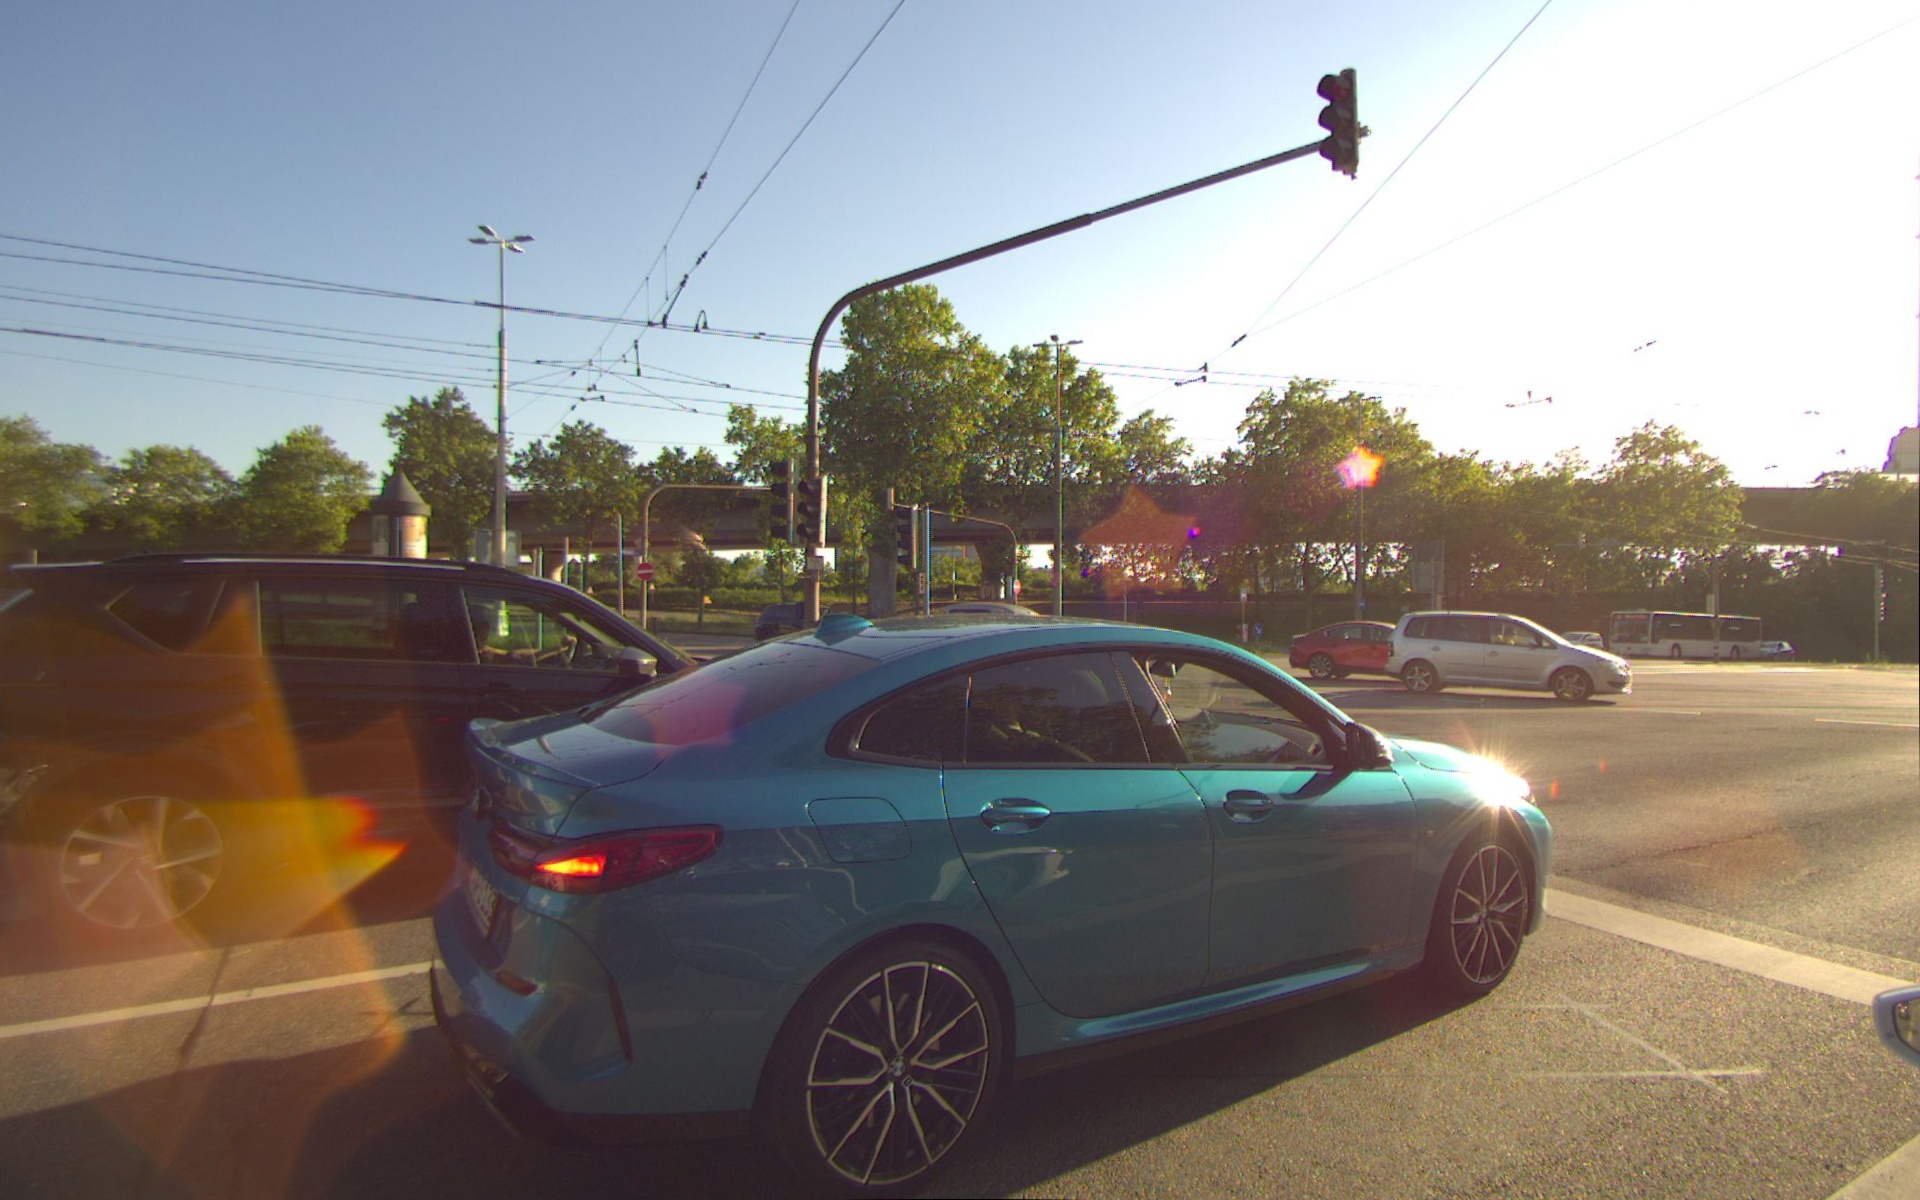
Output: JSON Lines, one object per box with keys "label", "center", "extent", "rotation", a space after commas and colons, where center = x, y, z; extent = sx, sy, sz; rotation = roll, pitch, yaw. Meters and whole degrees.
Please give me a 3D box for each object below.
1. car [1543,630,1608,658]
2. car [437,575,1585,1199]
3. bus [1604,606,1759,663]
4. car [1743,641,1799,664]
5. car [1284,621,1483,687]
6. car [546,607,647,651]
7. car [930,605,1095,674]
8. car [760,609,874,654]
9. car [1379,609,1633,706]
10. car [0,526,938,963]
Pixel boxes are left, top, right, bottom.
{"label": "car", "center": [35.133, 2.497, 57.321], "extent": [3.964, 1.532, 1.598], "rotation": [2, 0, -32]}
{"label": "car", "center": [0.448, 0.745, 3.803], "extent": [4.162, 1.485, 1.704], "rotation": [1, -1, -33]}
{"label": "bus", "center": [45.520, 2.225, 63.127], "extent": [12.756, 3.171, 2.534], "rotation": [3, -2, -28]}
{"label": "car", "center": [55.034, 3.545, 68.151], "extent": [3.959, 1.438, 1.600], "rotation": [1, 0, -29]}
{"label": "car", "center": [10.359, 1.271, 24.724], "extent": [4.221, 1.382, 1.617], "rotation": [1, 0, 39]}
{"label": "car", "center": [-14.045, 1.083, 38.715], "extent": [3.869, 1.546, 1.718], "rotation": [1, 0, 35]}
{"label": "car", "center": [1.389, 1.040, 27.665], "extent": [4.344, 1.701, 1.687], "rotation": [1, 0, 37]}
{"label": "car", "center": [-5.415, 1.150, 37.691], "extent": [4.341, 1.546, 1.618], "rotation": [1, 0, 36]}
{"label": "car", "center": [10.820, 1.064, 20.049], "extent": [4.221, 1.653, 1.686], "rotation": [1, 0, 39]}
{"label": "car", "center": [-2.554, 0.607, 5.604], "extent": [4.566, 1.702, 1.806], "rotation": [1, -1, -29]}
